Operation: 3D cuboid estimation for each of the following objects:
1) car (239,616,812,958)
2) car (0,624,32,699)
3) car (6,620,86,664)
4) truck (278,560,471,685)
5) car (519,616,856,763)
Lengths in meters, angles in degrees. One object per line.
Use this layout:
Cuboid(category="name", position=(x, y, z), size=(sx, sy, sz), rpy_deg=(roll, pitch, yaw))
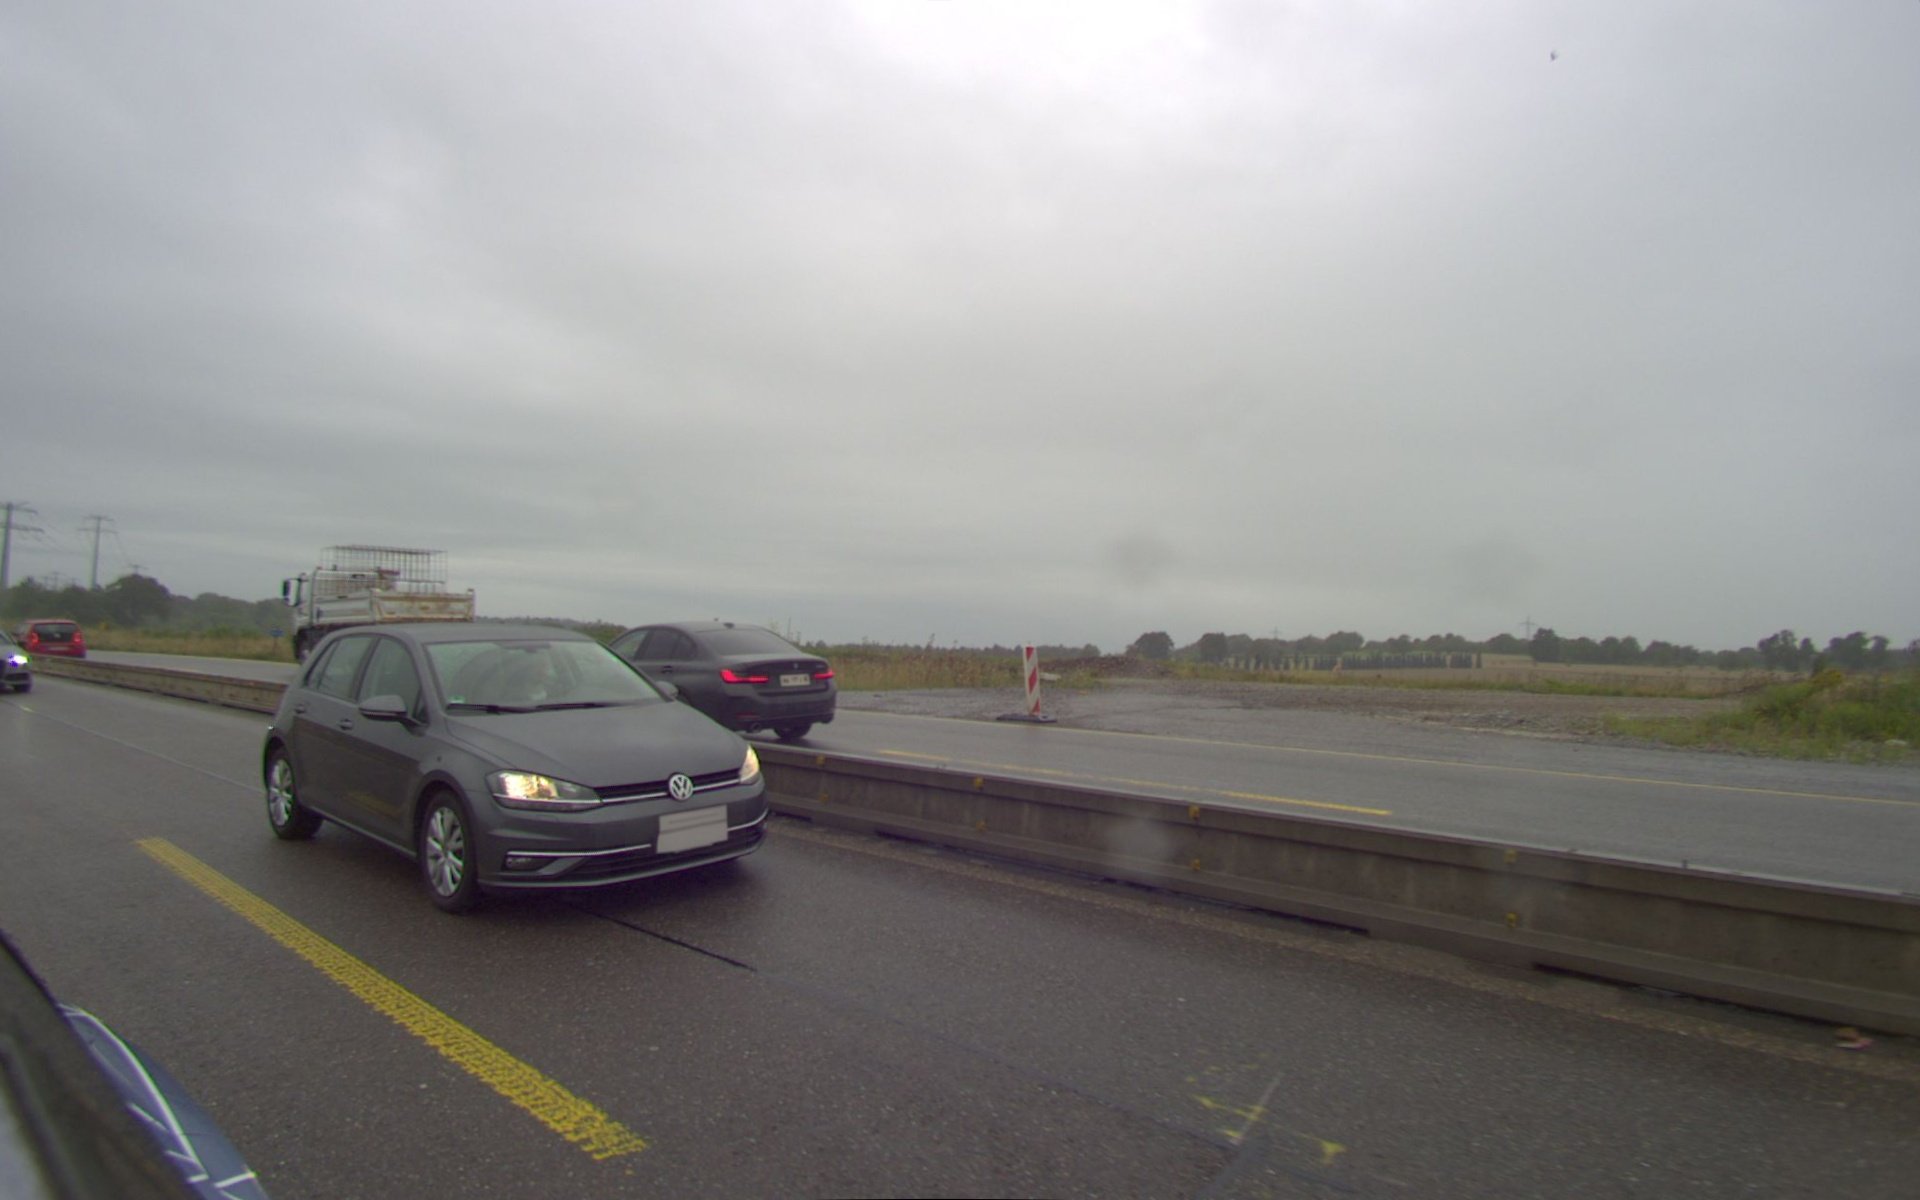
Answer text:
Cuboid(category="car", position=(-2.894, 0.833, 6.295), size=(4.077, 1.433, 1.633), rpy_deg=(0, -1, 40))
Cuboid(category="car", position=(-20.686, 1.247, 20.873), size=(4.266, 1.407, 1.777), rpy_deg=(0, 0, 40))
Cuboid(category="car", position=(-31.700, 1.424, 35.074), size=(3.590, 1.407, 1.621), rpy_deg=(-1, 0, 40))
Cuboid(category="truck", position=(-15.555, 0.627, 26.702), size=(6.545, 2.916, 2.334), rpy_deg=(-1, -3, 41))
Cuboid(category="car", position=(-3.548, 0.971, 12.623), size=(4.747, 1.506, 1.729), rpy_deg=(-1, -1, 41))
